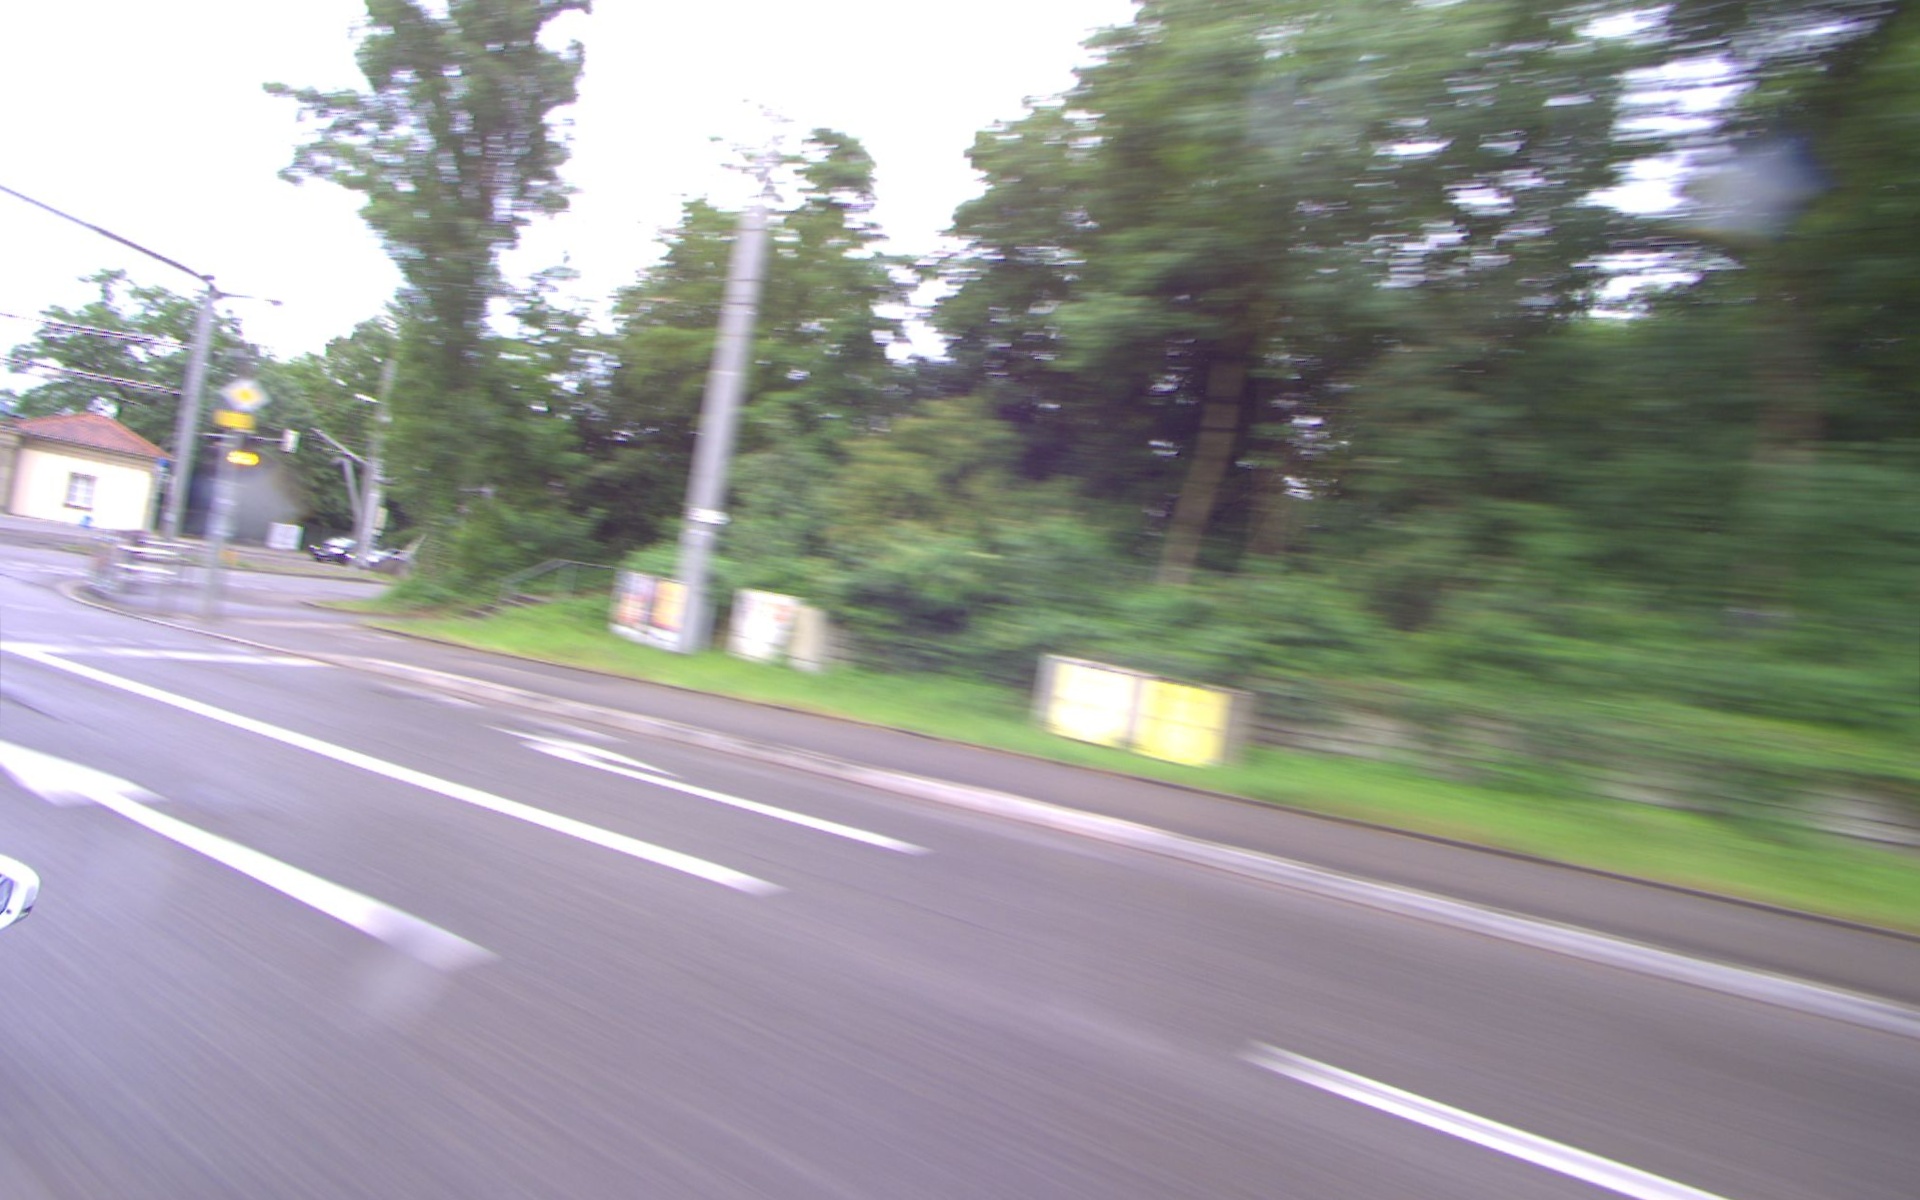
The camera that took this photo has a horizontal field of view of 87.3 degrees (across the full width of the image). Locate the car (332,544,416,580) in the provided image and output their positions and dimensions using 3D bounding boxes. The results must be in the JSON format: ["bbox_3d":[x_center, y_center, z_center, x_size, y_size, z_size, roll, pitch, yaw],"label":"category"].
[{"bbox_3d":[-34.113,-2.174,58.710,1.962,1.472,4.268,6,-2,6],"label":"car"}]

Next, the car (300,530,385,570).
[{"bbox_3d":[-36.516,-2.907,59.602,1.962,1.754,4.268,6,-2,6],"label":"car"}]
